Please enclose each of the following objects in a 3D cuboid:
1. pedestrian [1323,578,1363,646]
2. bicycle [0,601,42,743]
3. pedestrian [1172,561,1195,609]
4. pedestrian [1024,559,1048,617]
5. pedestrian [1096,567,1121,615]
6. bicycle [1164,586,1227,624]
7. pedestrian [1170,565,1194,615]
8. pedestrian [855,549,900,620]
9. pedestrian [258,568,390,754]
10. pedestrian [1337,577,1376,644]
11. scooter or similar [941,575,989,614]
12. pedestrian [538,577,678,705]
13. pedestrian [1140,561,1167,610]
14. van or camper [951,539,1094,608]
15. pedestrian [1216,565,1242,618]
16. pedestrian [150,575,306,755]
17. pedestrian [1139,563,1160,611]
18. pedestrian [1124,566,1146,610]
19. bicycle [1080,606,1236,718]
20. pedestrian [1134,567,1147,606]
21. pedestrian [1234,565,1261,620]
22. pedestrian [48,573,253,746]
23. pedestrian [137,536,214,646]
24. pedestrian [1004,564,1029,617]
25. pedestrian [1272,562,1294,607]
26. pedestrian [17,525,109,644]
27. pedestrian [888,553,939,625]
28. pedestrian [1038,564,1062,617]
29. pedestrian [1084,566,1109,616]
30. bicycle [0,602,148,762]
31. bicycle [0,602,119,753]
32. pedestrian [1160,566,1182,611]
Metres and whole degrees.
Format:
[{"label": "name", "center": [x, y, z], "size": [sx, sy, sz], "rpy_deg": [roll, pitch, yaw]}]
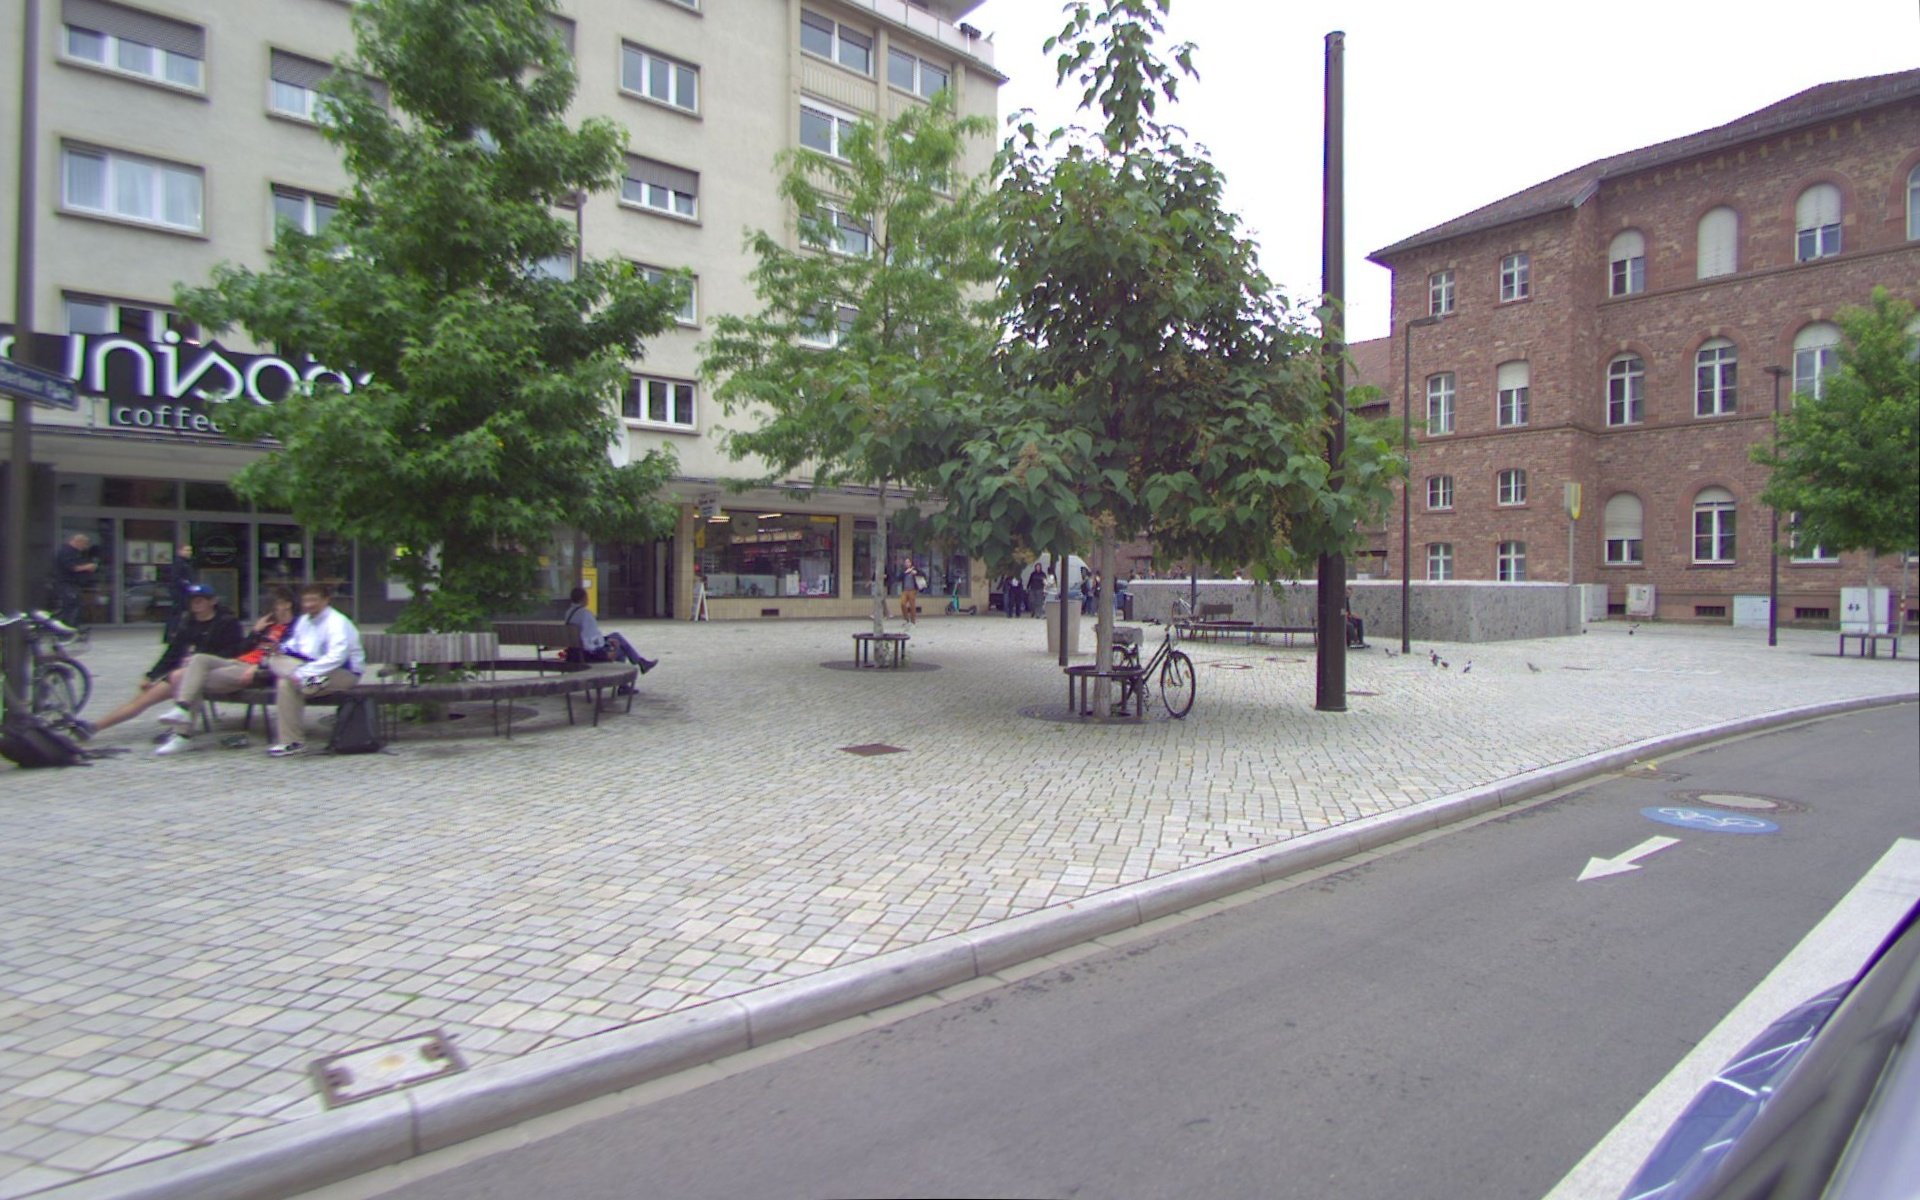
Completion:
[{"label": "pedestrian", "center": [8.598, 0.255, 22.735], "size": [0.771, 1.473, 0.763], "rpy_deg": [2, 2, 21]}, {"label": "bicycle", "center": [-7.940, 0.609, 7.934], "size": [0.467, 1.124, 2.045], "rpy_deg": [0, 2, -24]}, {"label": "pedestrian", "center": [7.980, -0.541, 36.079], "size": [0.579, 1.692, 0.515], "rpy_deg": [1, 0, -18]}, {"label": "pedestrian", "center": [2.410, -0.376, 31.968], "size": [0.630, 1.791, 0.592], "rpy_deg": [1, 0, -3]}, {"label": "pedestrian", "center": [5.242, -0.320, 35.730], "size": [0.579, 1.692, 0.645], "rpy_deg": [1, 0, -19]}, {"label": "bicycle", "center": [7.281, 0.143, 31.346], "size": [0.462, 1.077, 2.028], "rpy_deg": [0, 2, -40]}, {"label": "pedestrian", "center": [7.625, -0.349, 34.803], "size": [0.579, 1.692, 0.515], "rpy_deg": [1, 0, -19]}, {"label": "pedestrian", "center": [-2.302, -0.442, 28.332], "size": [0.767, 1.925, 1.054], "rpy_deg": [2, 1, 32]}, {"label": "pedestrian", "center": [-5.024, 0.454, 8.005], "size": [0.625, 1.383, 0.680], "rpy_deg": [-1, -1, 32]}, {"label": "pedestrian", "center": [9.153, 0.219, 23.363], "size": [0.771, 1.473, 0.763], "rpy_deg": [2, 2, 21]}, {"label": "scooter or similar", "center": [0.152, -0.177, 32.166], "size": [1.406, 1.218, 0.503], "rpy_deg": [0, 2, -15]}, {"label": "pedestrian", "center": [-4.030, 0.438, 11.629], "size": [1.385, 1.383, 0.629], "rpy_deg": [0, -1, -41]}, {"label": "pedestrian", "center": [8.198, -0.606, 42.831], "size": [0.805, 2.039, 0.759], "rpy_deg": [0, -1, -36]}, {"label": "van or camper", "center": [2.739, -1.074, 42.963], "size": [6.444, 2.754, 1.997], "rpy_deg": [-1, 0, -40]}, {"label": "pedestrian", "center": [8.631, -0.266, 32.487], "size": [0.579, 1.692, 0.515], "rpy_deg": [1, 0, -16]}, {"label": "pedestrian", "center": [-5.949, 0.497, 8.274], "size": [0.900, 1.383, 0.631], "rpy_deg": [0, -1, -22]}, {"label": "pedestrian", "center": [7.683, -0.524, 40.995], "size": [0.525, 1.914, 0.662], "rpy_deg": [0, -1, -43]}, {"label": "pedestrian", "center": [6.935, -0.469, 40.193], "size": [0.661, 1.699, 0.526], "rpy_deg": [-1, -1, 41]}, {"label": "bicycle", "center": [2.171, 0.638, 11.373], "size": [0.632, 1.137, 1.922], "rpy_deg": [0, 0, -28]}, {"label": "pedestrian", "center": [7.880, -0.583, 44.067], "size": [0.525, 1.642, 0.662], "rpy_deg": [-1, -1, 11]}, {"label": "pedestrian", "center": [8.948, -0.241, 31.551], "size": [0.579, 1.692, 0.515], "rpy_deg": [1, 0, -19]}, {"label": "pedestrian", "center": [-6.833, 0.474, 8.606], "size": [1.253, 1.383, 0.545], "rpy_deg": [-1, -1, -22]}, {"label": "pedestrian", "center": [-13.112, -0.164, 16.932], "size": [0.704, 1.773, 0.776], "rpy_deg": [1, 2, -1]}, {"label": "pedestrian", "center": [1.764, -0.303, 31.531], "size": [0.584, 1.606, 0.639], "rpy_deg": [1, 0, 18]}, {"label": "pedestrian", "center": [12.271, -0.595, 38.448], "size": [0.579, 1.692, 0.515], "rpy_deg": [1, 0, -18]}, {"label": "pedestrian", "center": [-14.753, -0.249, 16.662], "size": [0.836, 1.909, 0.776], "rpy_deg": [-1, -1, -1]}, {"label": "pedestrian", "center": [-1.196, -0.287, 25.946], "size": [0.769, 1.794, 1.052], "rpy_deg": [2, 1, 39]}, {"label": "pedestrian", "center": [2.788, -0.294, 31.230], "size": [0.584, 1.606, 0.639], "rpy_deg": [1, 0, 18]}, {"label": "pedestrian", "center": [4.708, -0.312, 34.910], "size": [0.579, 1.692, 0.644], "rpy_deg": [1, 0, -24]}, {"label": "bicycle", "center": [-7.192, 0.604, 8.277], "size": [0.467, 1.124, 1.609], "rpy_deg": [0, 2, -24]}, {"label": "bicycle", "center": [-7.786, 0.612, 8.683], "size": [0.467, 1.124, 1.609], "rpy_deg": [0, 2, -24]}, {"label": "pedestrian", "center": [8.507, -0.466, 40.797], "size": [0.661, 1.780, 0.622], "rpy_deg": [-1, -1, 41]}]
